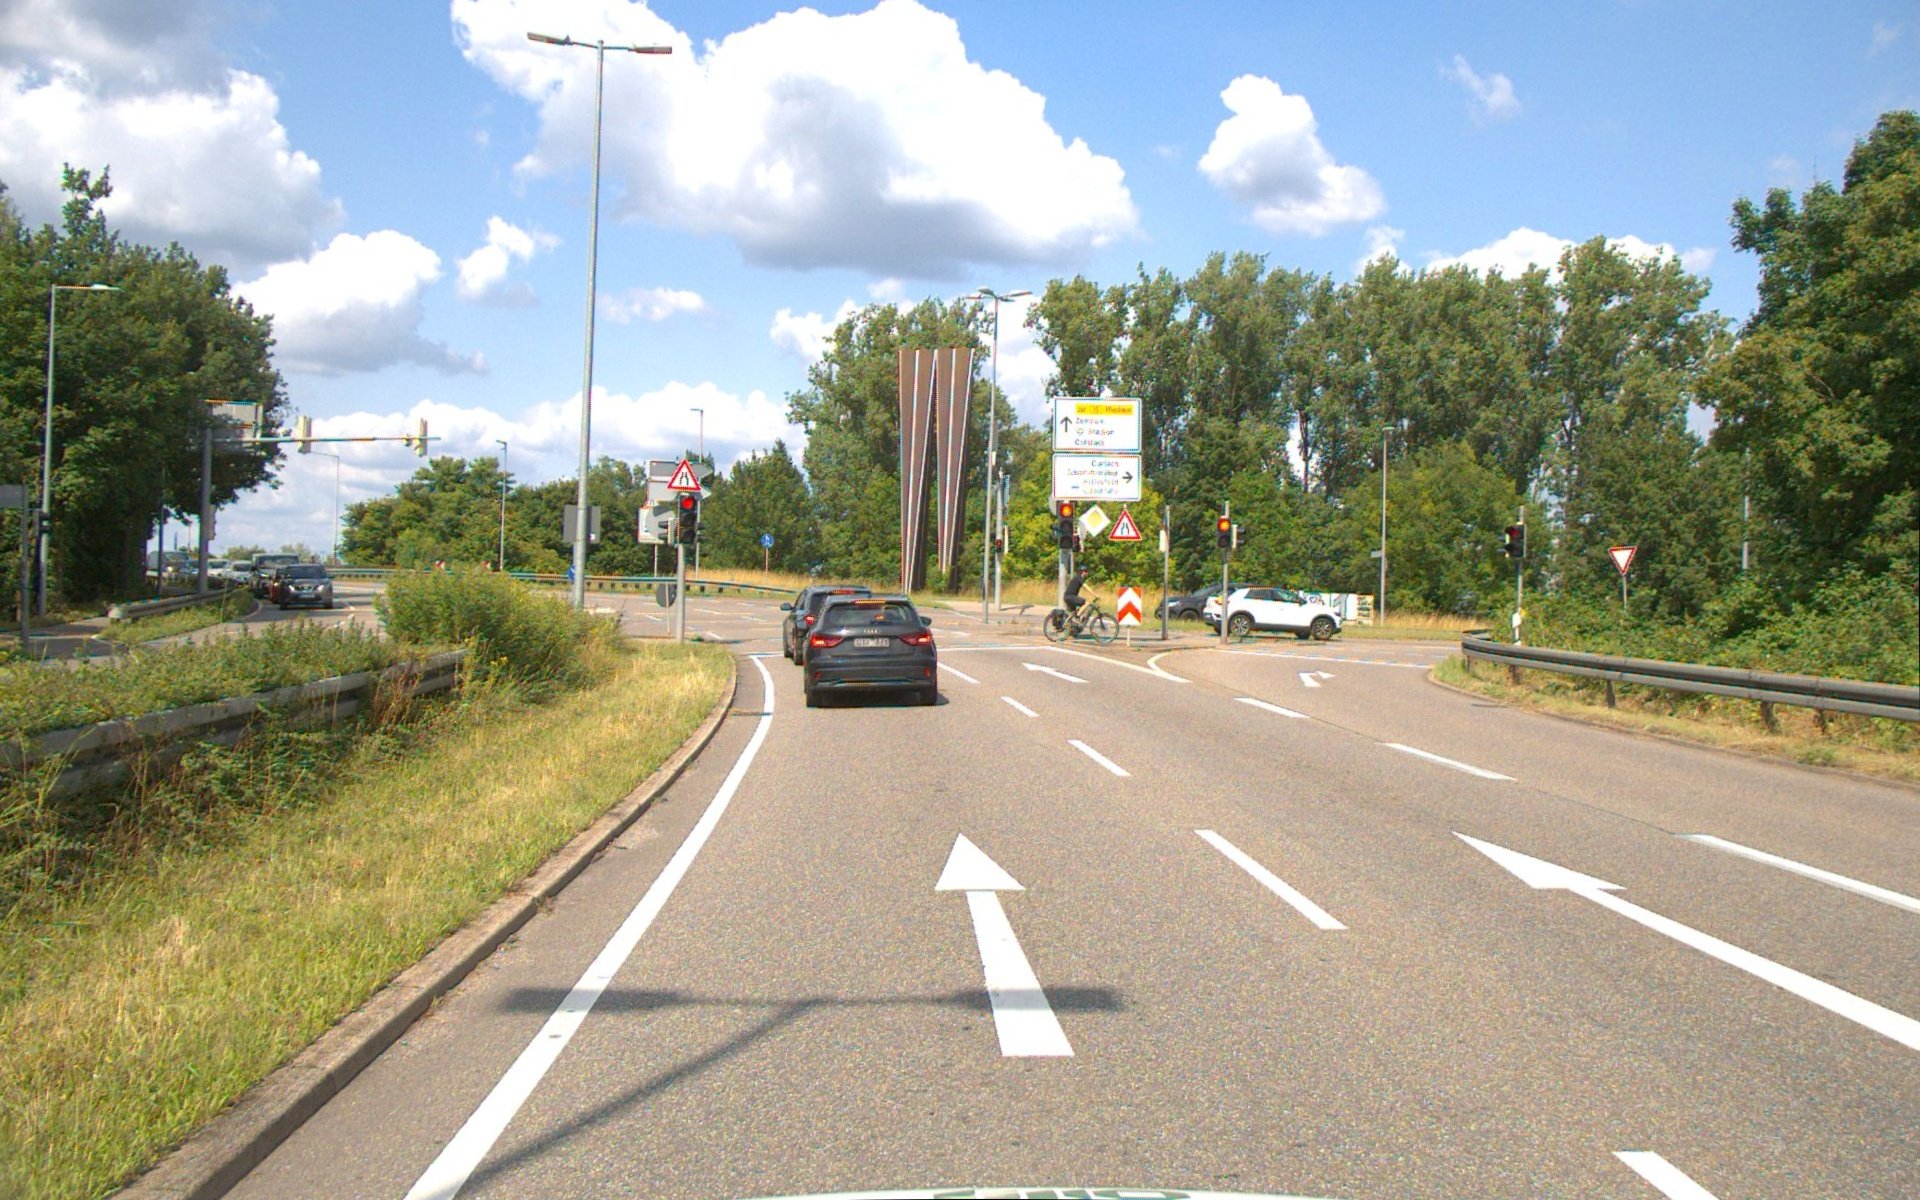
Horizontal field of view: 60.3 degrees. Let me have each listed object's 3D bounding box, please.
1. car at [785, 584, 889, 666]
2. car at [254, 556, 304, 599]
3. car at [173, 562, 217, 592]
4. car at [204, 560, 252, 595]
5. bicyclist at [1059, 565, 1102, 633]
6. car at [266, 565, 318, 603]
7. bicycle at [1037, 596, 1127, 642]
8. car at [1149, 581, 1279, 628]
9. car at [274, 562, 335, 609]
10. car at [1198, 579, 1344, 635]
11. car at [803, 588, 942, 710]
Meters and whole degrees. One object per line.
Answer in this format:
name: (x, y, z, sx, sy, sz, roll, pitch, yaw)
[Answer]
car: (-2.436, 0.436, 32.050, 1.694, 1.448, 3.837, -1, 1, -9)
car: (-30.410, -1.016, 73.761, 1.820, 1.833, 4.291, 1, 1, -26)
car: (-45.634, -1.396, 98.676, 1.826, 1.735, 4.278, 1, 1, -33)
car: (-38.555, -1.191, 87.092, 1.824, 1.735, 4.282, 1, 1, -30)
bicyclist: (2.853, -0.032, 39.235, 0.820, 1.587, 0.669, 1, 0, -17)
car: (-27.402, -0.662, 67.782, 1.710, 1.502, 4.014, 1, 1, -26)
bicycle: (2.889, 0.457, 39.250, 2.019, 1.041, 0.669, 1, 0, -17)
car: (8.835, 0.147, 57.676, 4.186, 1.572, 1.735, 1, 0, -6)
car: (-23.976, -0.489, 60.436, 1.816, 1.646, 3.967, 0, -1, -25)
car: (9.324, 0.210, 49.755, 3.957, 1.502, 1.734, 2, 0, -8)
car: (-1.248, 0.589, 22.386, 1.692, 1.428, 3.996, -1, 1, -5)
